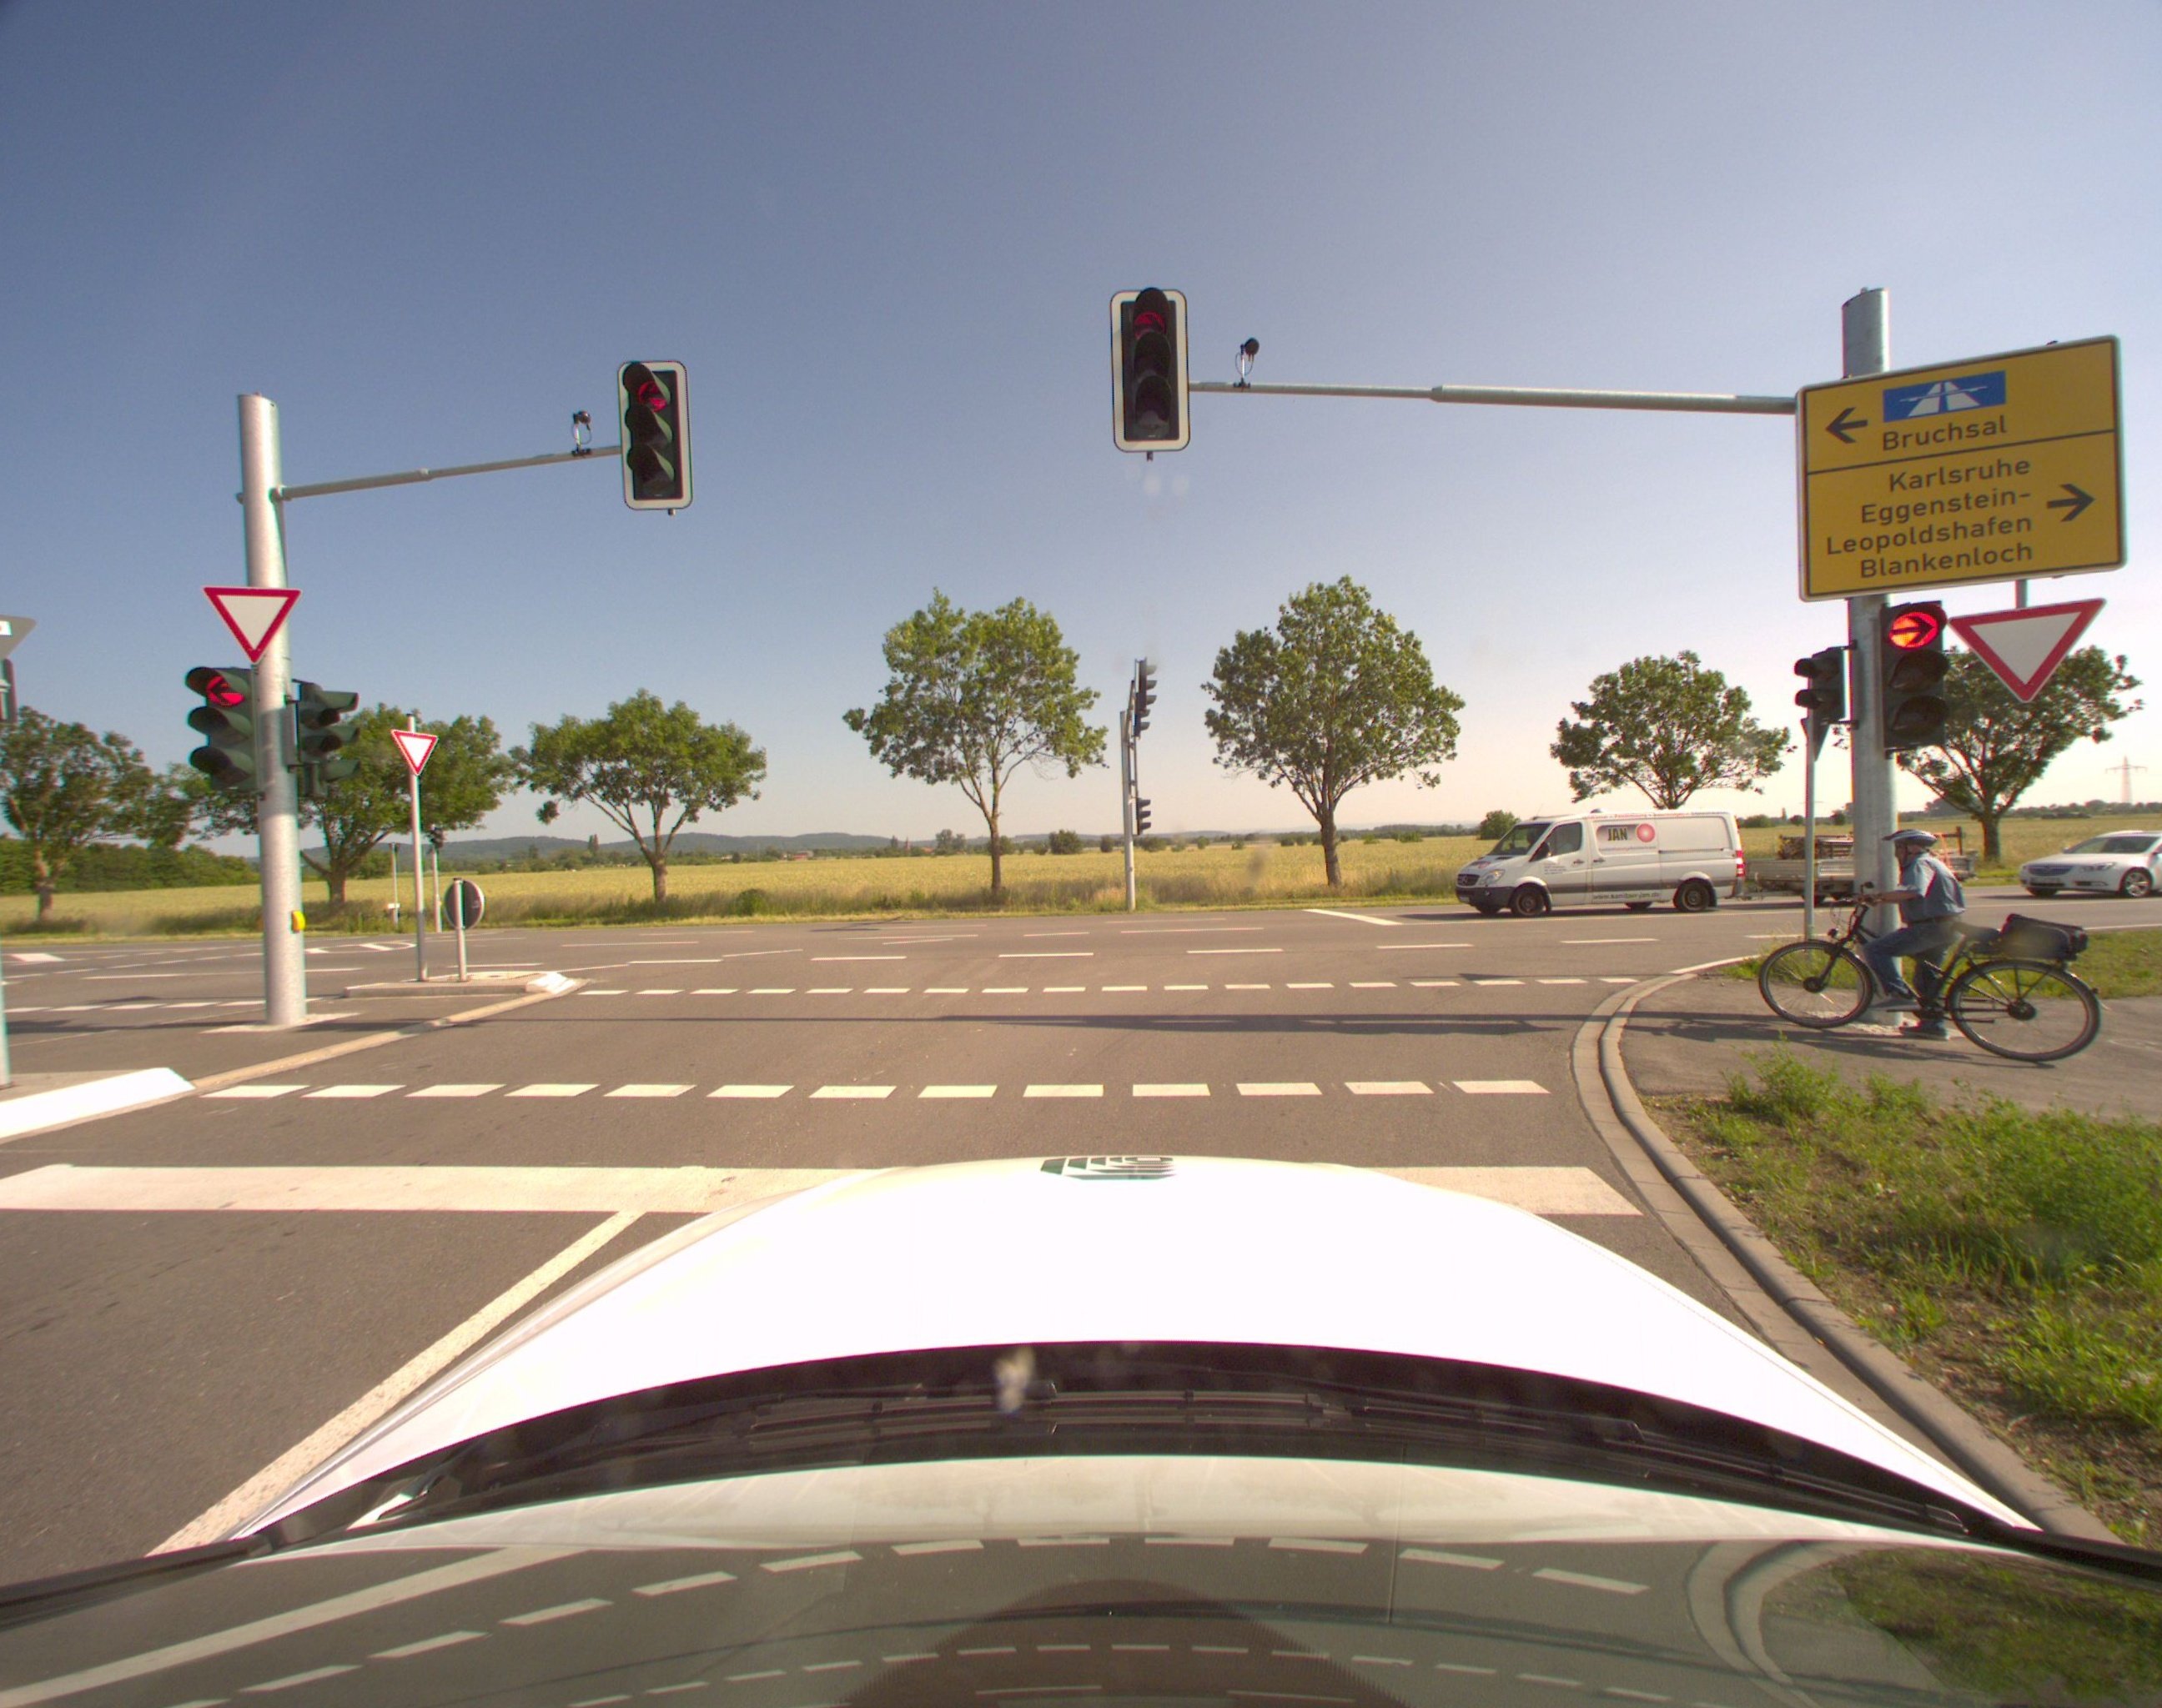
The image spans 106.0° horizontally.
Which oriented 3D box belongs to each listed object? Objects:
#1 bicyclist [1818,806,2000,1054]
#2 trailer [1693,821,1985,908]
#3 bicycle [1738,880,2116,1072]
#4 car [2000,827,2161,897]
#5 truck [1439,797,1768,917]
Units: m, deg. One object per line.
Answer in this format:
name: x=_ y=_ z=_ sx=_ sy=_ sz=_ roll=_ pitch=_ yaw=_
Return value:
bicyclist: x=6.401 y=0.529 z=6.330 sx=0.623 sy=1.765 sz=0.906 roll=0 pitch=1 yaw=-44
trailer: x=17.337 y=0.239 z=18.796 sx=4.983 sy=1.738 sz=1.979 roll=-2 pitch=-1 yaw=-3
bicycle: x=6.396 y=0.837 z=6.315 sx=0.685 sy=1.151 sz=1.922 roll=0 pitch=2 yaw=-44
car: x=24.659 y=0.132 z=18.978 sx=4.682 sy=1.492 sz=1.763 roll=-2 pitch=-1 yaw=-3
truck: x=11.753 y=0.074 z=18.652 sx=6.157 sy=2.405 sz=2.071 roll=-2 pitch=-1 yaw=0
